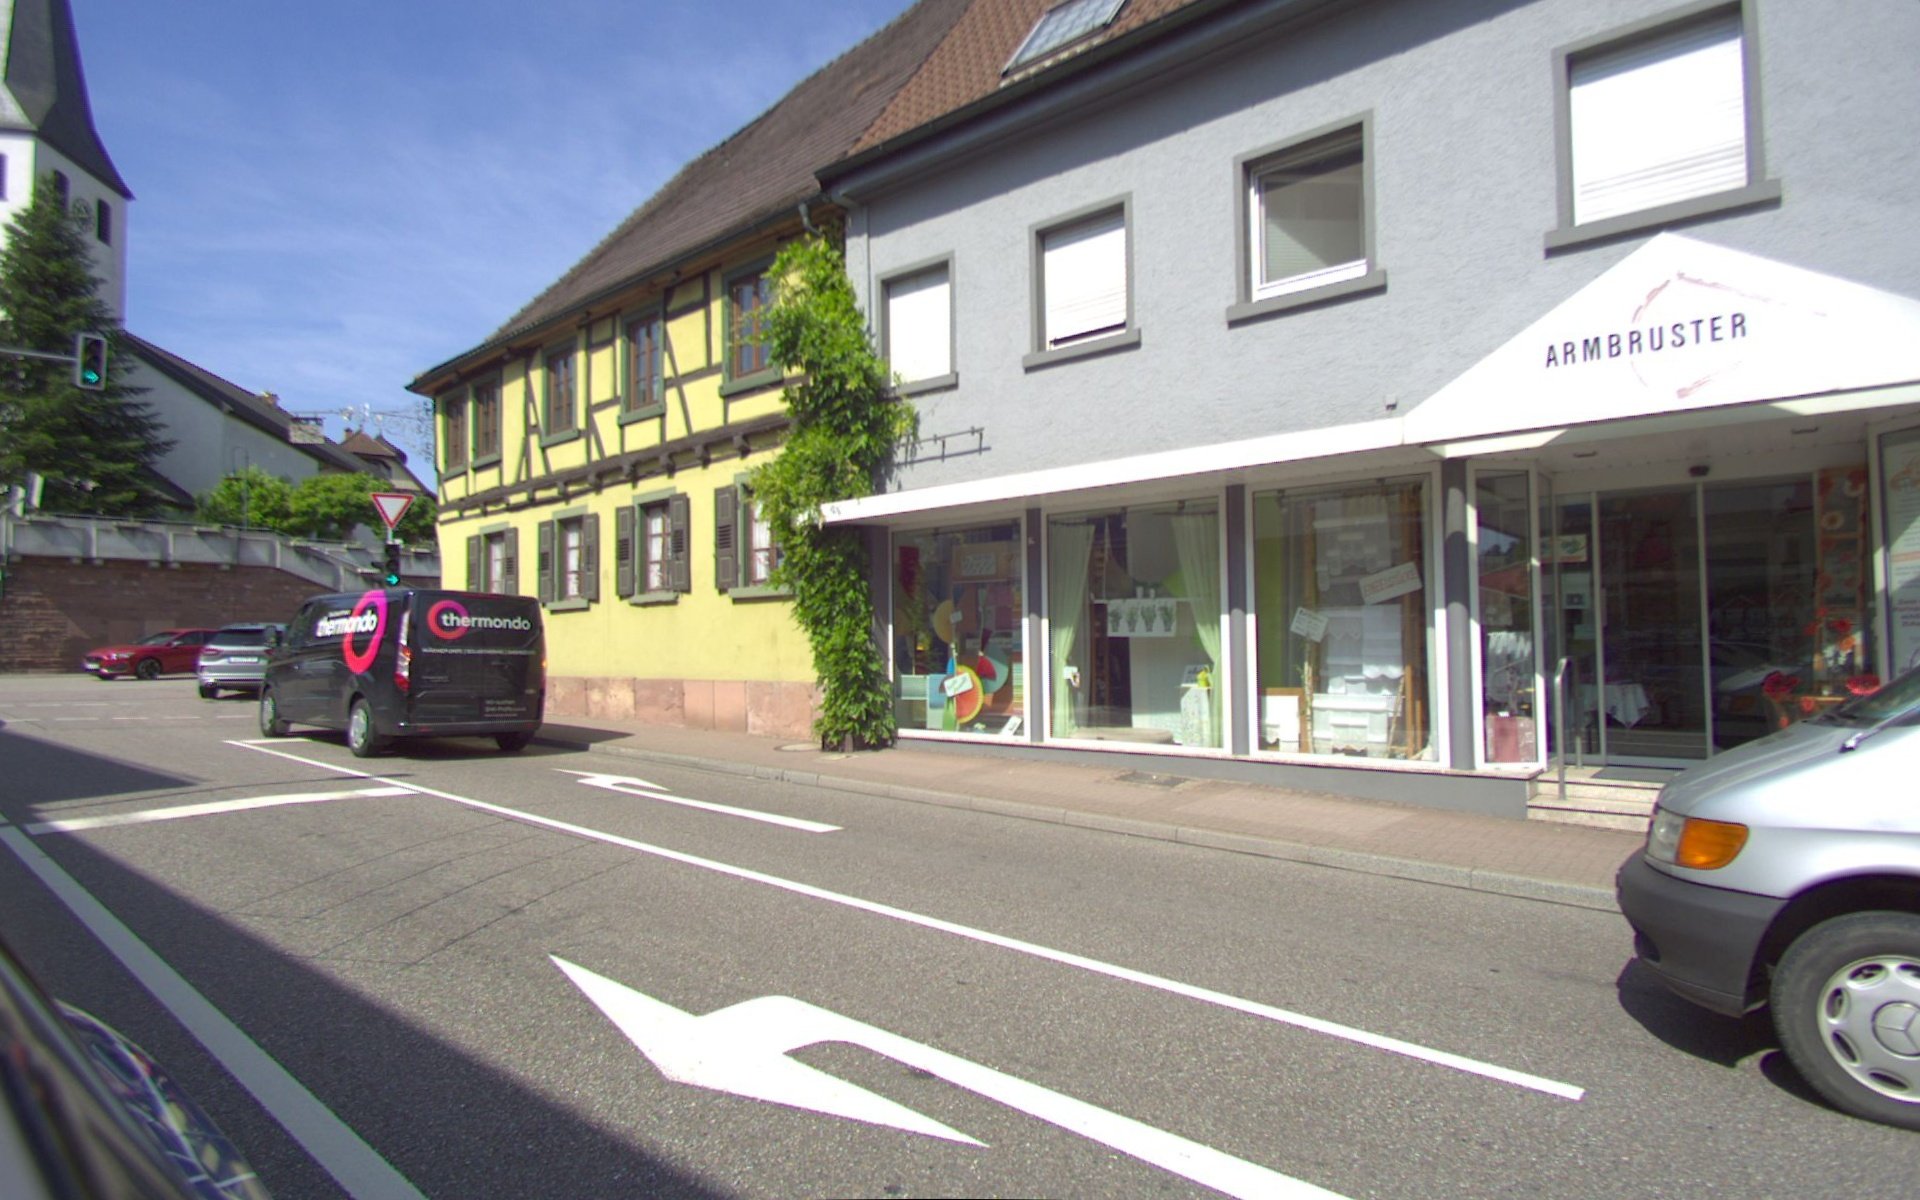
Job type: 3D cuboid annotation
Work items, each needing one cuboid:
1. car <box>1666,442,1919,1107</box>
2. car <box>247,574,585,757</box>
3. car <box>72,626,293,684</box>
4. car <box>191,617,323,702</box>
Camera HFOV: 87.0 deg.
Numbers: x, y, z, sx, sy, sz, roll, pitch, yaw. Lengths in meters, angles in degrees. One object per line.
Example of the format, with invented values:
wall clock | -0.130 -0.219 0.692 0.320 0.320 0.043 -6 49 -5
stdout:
car | 4.645 0.505 2.530 4.548 1.905 1.864 -2 -5 41
car | -7.258 0.829 13.238 5.162 1.938 2.136 -2 -5 41
car | -22.450 1.538 29.539 2.143 1.527 4.929 0 -2 12
car | -15.287 1.274 22.230 1.731 1.622 4.442 4 -4 -27
